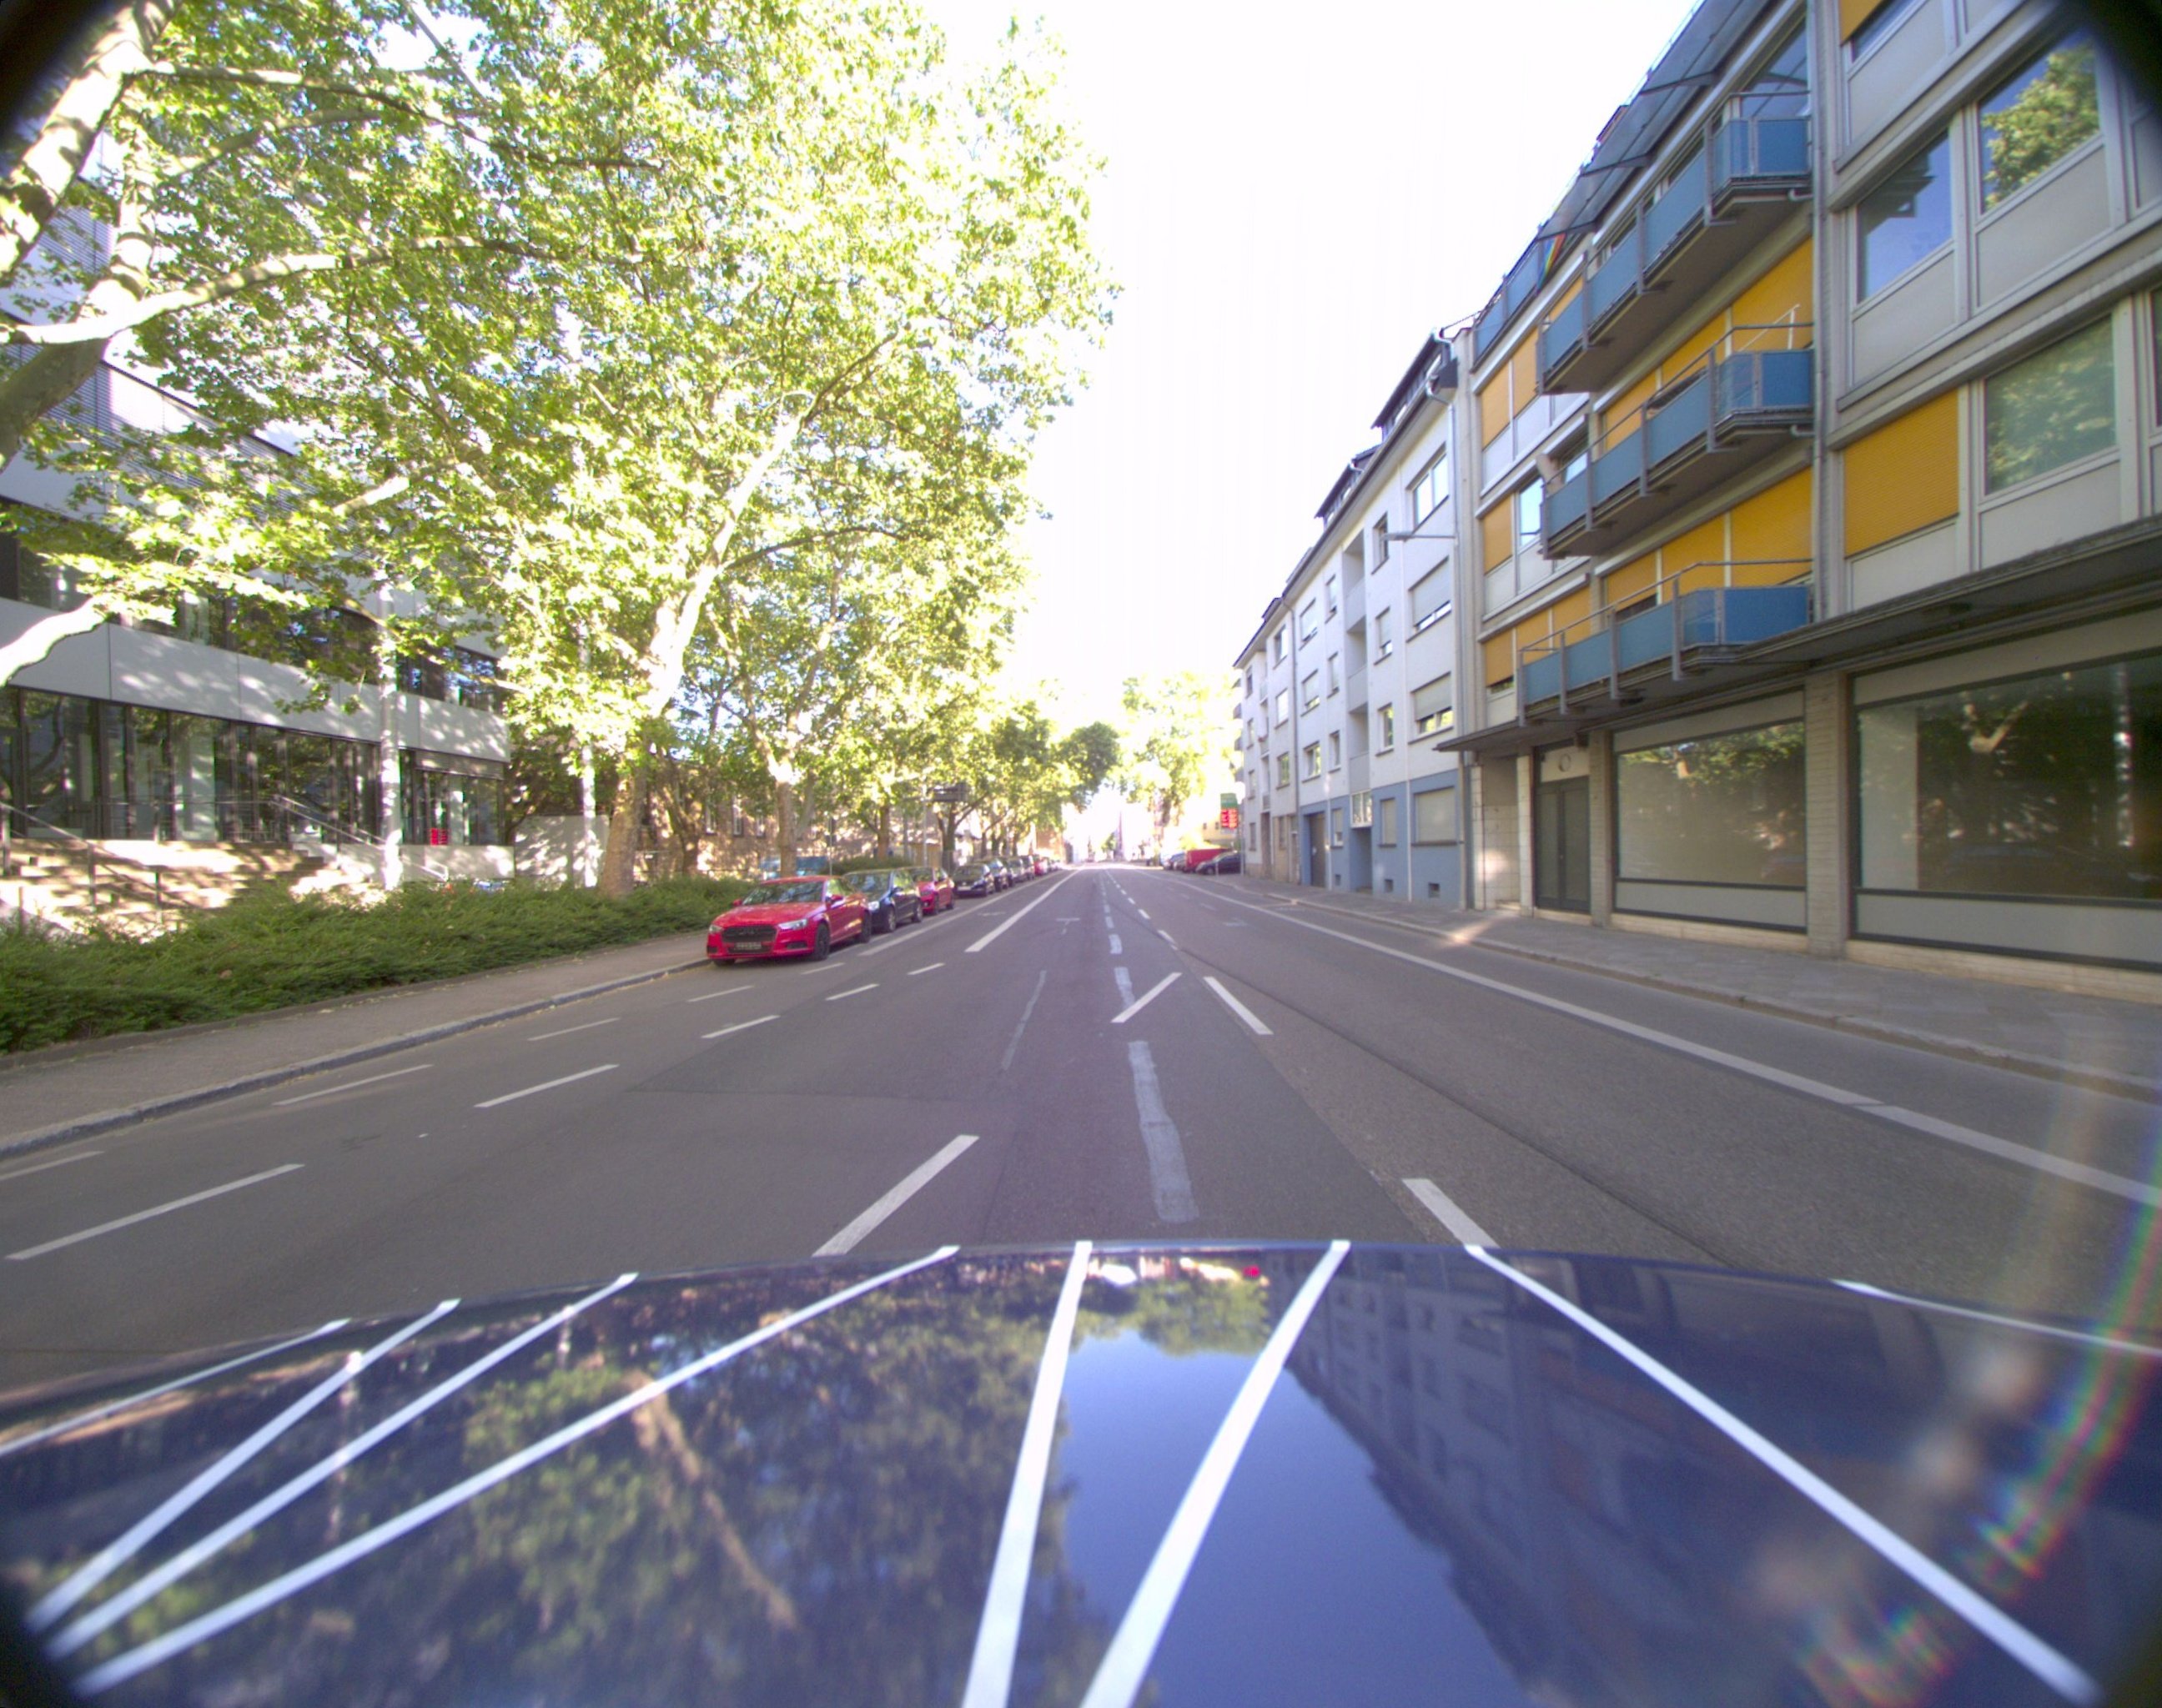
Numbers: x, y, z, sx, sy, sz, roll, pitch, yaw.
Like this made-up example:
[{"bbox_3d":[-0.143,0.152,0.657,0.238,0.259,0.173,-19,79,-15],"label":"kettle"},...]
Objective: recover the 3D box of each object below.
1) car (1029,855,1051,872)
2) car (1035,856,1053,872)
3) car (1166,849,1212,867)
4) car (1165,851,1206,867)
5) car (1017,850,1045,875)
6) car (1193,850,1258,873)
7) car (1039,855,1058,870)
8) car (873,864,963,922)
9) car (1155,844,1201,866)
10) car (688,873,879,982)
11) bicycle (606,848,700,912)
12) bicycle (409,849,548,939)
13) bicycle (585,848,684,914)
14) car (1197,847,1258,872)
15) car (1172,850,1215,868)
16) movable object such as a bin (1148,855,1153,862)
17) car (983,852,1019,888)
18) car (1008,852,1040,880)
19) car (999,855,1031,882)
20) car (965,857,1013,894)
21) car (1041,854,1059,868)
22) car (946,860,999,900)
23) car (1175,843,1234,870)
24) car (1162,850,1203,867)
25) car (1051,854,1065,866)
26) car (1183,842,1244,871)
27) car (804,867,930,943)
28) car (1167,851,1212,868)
[{"bbox_3d":[-3.880,0.894,71.907,1.641,1.476,3.760,-4,0,3],"label":"car"},{"bbox_3d":[-3.921,1.044,80.642,1.617,1.466,3.493,-4,0,0],"label":"car"},{"bbox_3d":[10.798,0.395,76.156,4.204,1.674,2.028,-3,0,1],"label":"car"},{"bbox_3d":[10.824,0.522,78.690,3.997,1.424,1.853,-3,0,1],"label":"car"},{"bbox_3d":[-4.339,0.690,66.769,2.083,1.982,5.171,-3,0,-1],"label":"car"},{"bbox_3d":[10.407,0.547,54.942,4.239,1.372,2.046,-3,1,1],"label":"car"},{"bbox_3d":[-3.630,0.941,86.386,1.860,1.513,4.599,-3,0,0],"label":"car"},{"bbox_3d":[-4.980,1.151,23.737,1.697,1.470,4.318,-4,0,1],"label":"car"},{"bbox_3d":[10.883,0.128,85.374,4.856,2.204,2.140,-3,0,1],"label":"car"},{"bbox_3d":[-5.122,1.173,13.801,1.697,1.441,4.435,-4,0,-1],"label":"car"},{"bbox_3d":[-13.946,0.830,24.790,2.604,2.002,0.742,-1,1,1],"label":"bicycle"},{"bbox_3d":[-14.002,0.910,17.688,2.604,2.002,0.742,-1,1,1],"label":"bicycle"},{"bbox_3d":[-13.997,0.843,23.861,2.604,2.002,0.742,-1,1,1],"label":"bicycle"},{"bbox_3d":[10.969,0.392,57.106,4.183,1.554,1.886,-4,0,1],"label":"car"},{"bbox_3d":[10.458,0.462,71.050,3.694,1.504,1.831,-4,0,1],"label":"car"},{"bbox_3d":[10.568,0.685,115.393,0.595,1.065,0.644,-1,1,1],"label":"movable object such as a bin"},{"bbox_3d":[-4.699,0.898,44.338,1.830,1.830,4.896,-4,0,-7],"label":"car"},{"bbox_3d":[-4.121,0.847,55.430,1.697,1.802,4.130,-4,0,3],"label":"car"},{"bbox_3d":[-4.389,0.947,50.896,1.697,1.618,4.329,-4,0,-1],"label":"car"},{"bbox_3d":[-4.555,1.008,38.267,1.780,1.618,4.620,-4,0,0],"label":"car"},{"bbox_3d":[-3.734,0.850,92.906,1.860,1.514,4.297,-3,0,0],"label":"car"},{"bbox_3d":[-4.650,1.086,33.040,1.697,1.495,4.019,-4,0,-1],"label":"car"},{"bbox_3d":[10.186,0.213,63.013,4.533,1.940,2.057,-4,0,1],"label":"car"},{"bbox_3d":[10.774,0.487,80.816,3.997,1.550,1.853,-3,0,1],"label":"car"},{"bbox_3d":[-3.163,0.816,103.385,1.860,1.428,4.969,-2,0,-2],"label":"car"},{"bbox_3d":[10.449,0.193,60.156,4.432,1.940,2.146,-4,0,1],"label":"car"},{"bbox_3d":[-5.037,1.148,18.478,1.697,1.458,4.066,-4,0,2],"label":"car"},{"bbox_3d":[10.455,0.550,73.209,3.997,1.447,1.916,-3,0,1],"label":"car"}]
